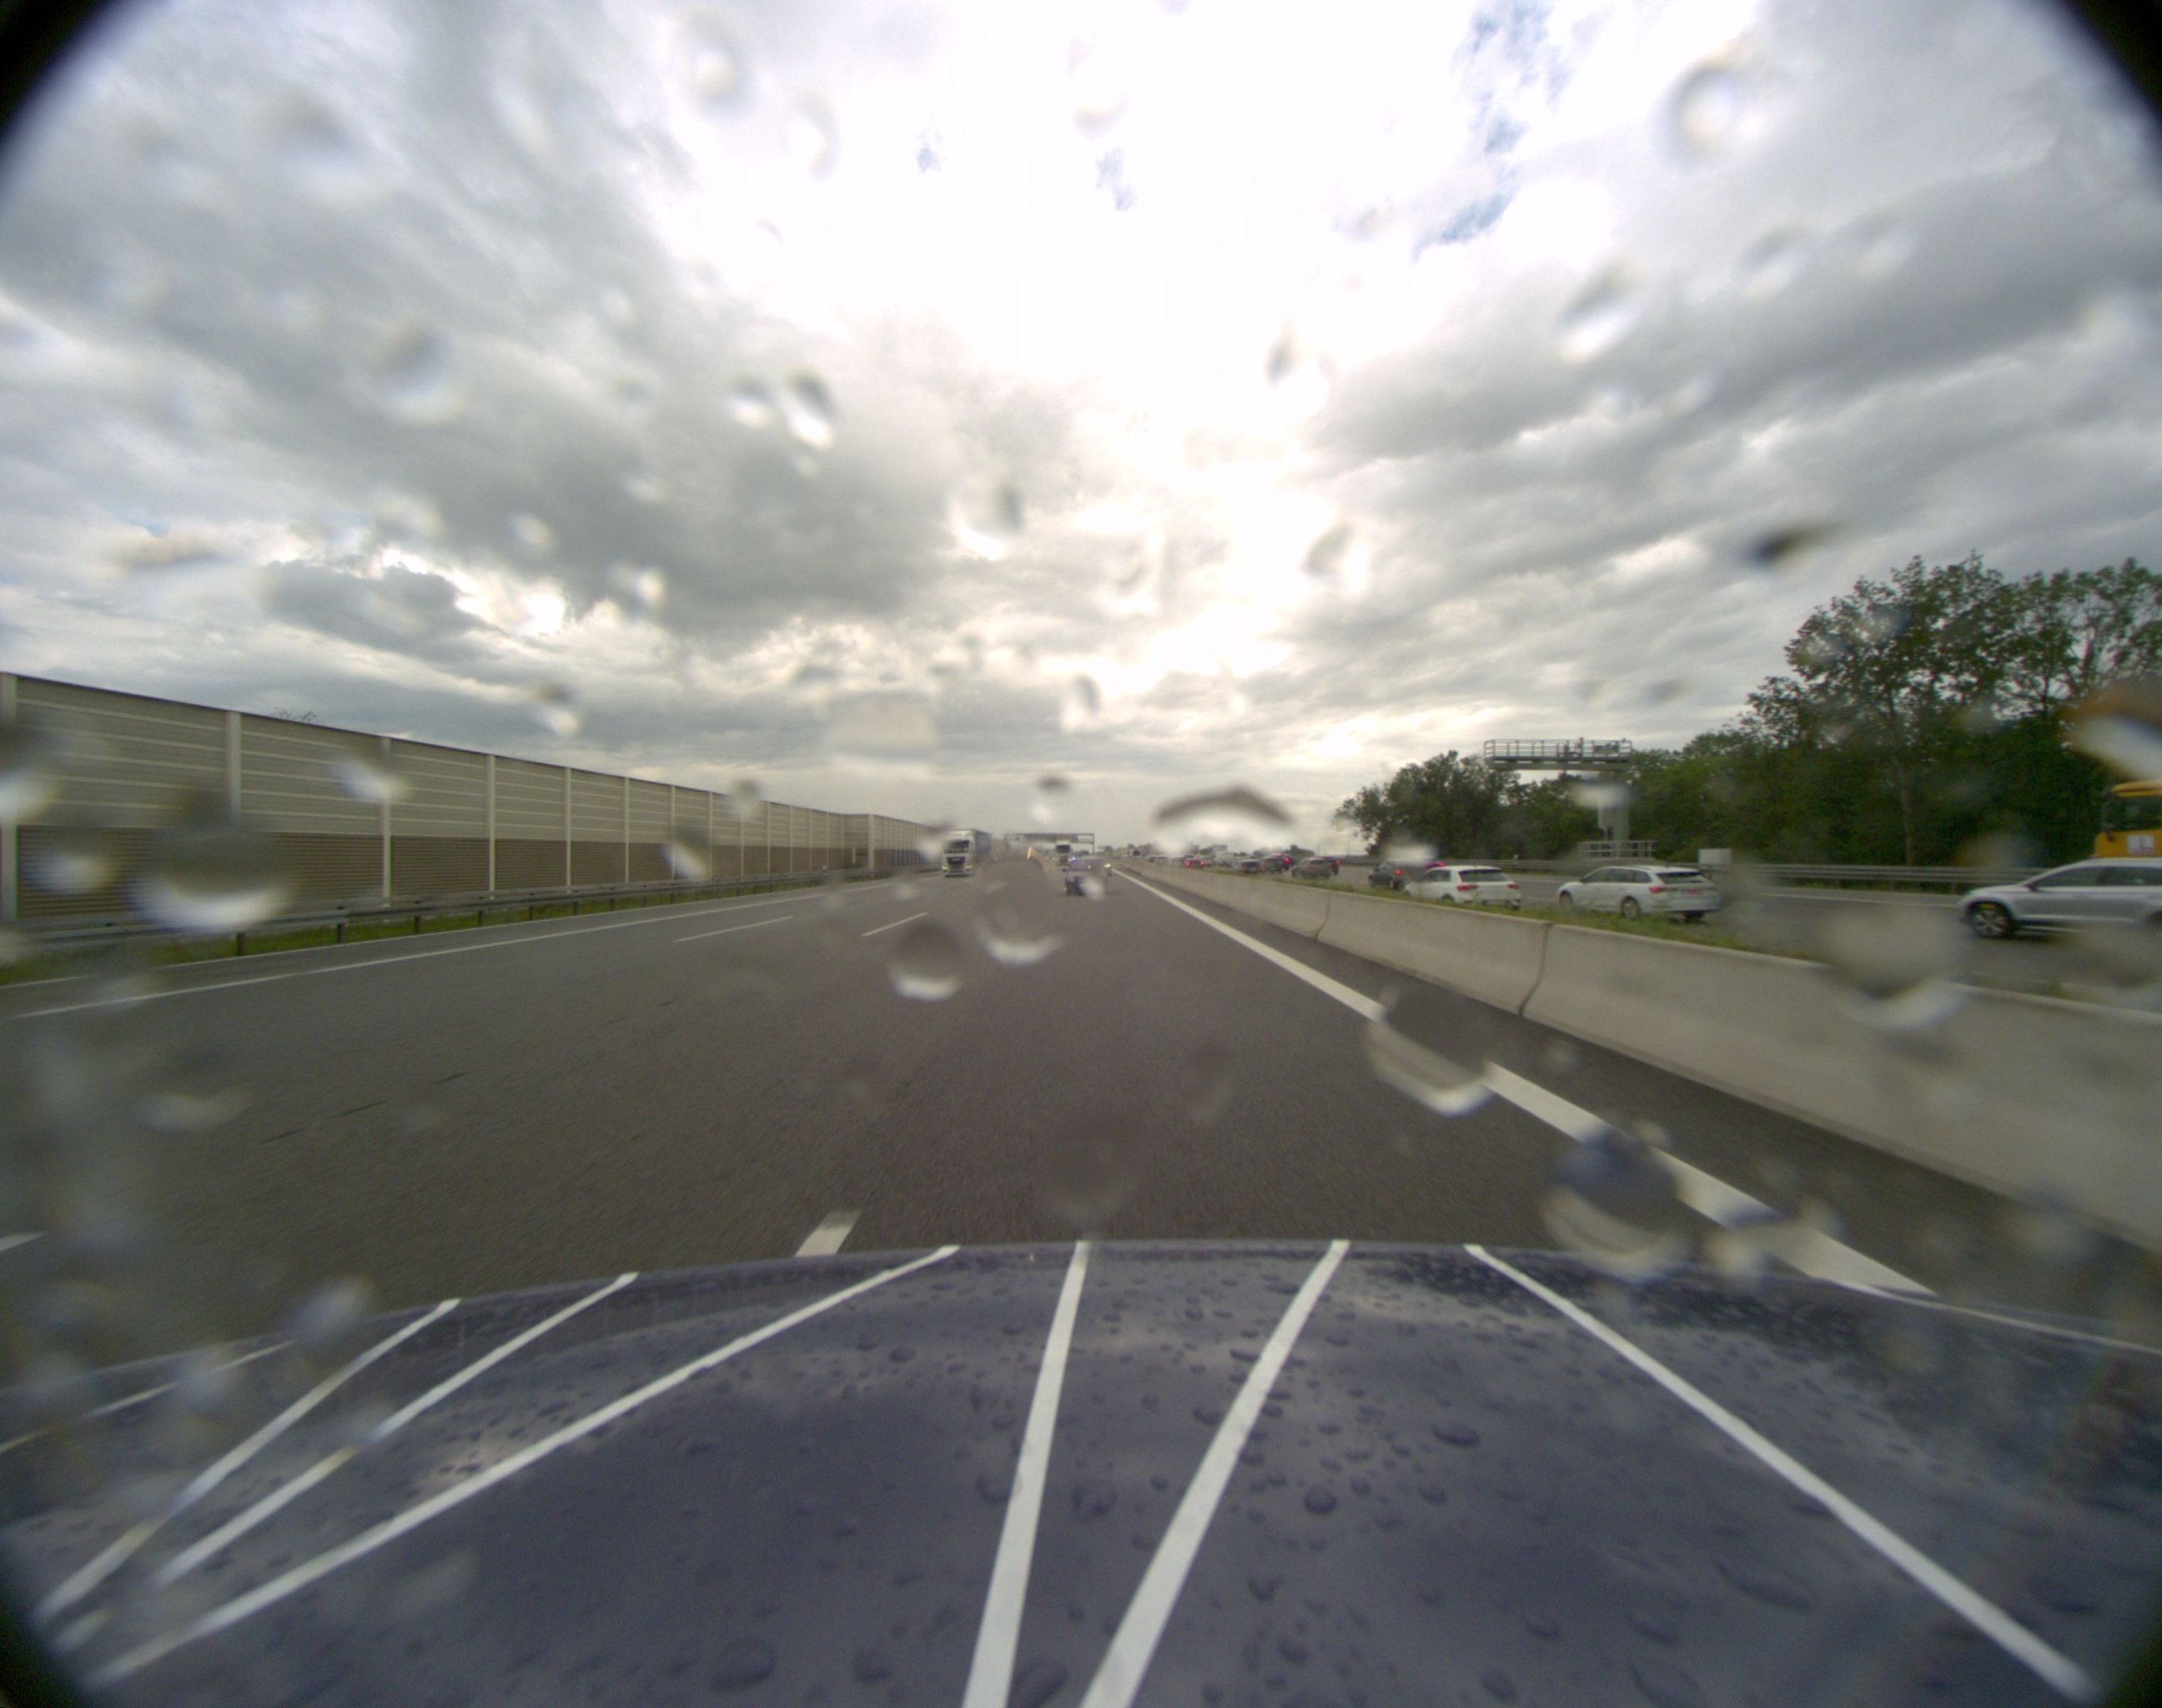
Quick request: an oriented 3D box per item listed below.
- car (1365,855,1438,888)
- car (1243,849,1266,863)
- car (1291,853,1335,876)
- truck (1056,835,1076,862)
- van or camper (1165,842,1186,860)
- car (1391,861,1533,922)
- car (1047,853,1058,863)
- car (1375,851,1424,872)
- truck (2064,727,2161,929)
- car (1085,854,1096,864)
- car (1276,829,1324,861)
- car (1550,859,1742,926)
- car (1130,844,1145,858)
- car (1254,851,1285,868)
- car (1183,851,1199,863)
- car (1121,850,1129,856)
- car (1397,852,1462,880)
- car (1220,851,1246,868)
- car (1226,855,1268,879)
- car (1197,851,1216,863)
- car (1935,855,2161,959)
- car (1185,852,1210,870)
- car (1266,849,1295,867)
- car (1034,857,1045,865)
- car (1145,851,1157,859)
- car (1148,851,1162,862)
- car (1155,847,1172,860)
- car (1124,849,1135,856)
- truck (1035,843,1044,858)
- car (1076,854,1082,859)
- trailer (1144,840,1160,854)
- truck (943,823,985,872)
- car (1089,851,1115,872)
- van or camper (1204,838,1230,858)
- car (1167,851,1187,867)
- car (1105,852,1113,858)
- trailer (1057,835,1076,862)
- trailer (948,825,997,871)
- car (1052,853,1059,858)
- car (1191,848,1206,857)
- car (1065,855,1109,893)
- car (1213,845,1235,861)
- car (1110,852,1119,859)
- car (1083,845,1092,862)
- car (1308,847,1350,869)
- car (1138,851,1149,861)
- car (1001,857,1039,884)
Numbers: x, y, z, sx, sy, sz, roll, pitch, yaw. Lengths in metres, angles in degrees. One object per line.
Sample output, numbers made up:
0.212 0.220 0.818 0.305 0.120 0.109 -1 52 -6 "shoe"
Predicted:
15.683 0.801 37.478 1.727 1.420 4.519 -3 1 1 "car"
19.874 0.206 87.209 1.727 1.470 3.960 -3 1 1 "car"
16.081 0.667 52.828 1.727 1.420 4.519 -3 1 1 "car"
-2.331 -0.884 122.437 2.913 4.146 5.192 -3 0 0 "truck"
16.339 -0.573 131.629 2.632 2.934 7.357 -3 1 0 "van or camper"
10.807 0.992 21.984 1.727 1.420 4.648 -3 1 0 "car"
-6.344 0.932 169.794 1.998 2.002 4.000 -2 0 1 "car"
23.231 0.509 55.619 1.727 1.420 4.519 -3 1 1 "car"
22.808 -0.521 11.737 2.922 3.991 9.582 -1 0 1 "truck"
1.455 0.782 118.190 1.498 1.394 4.000 -2 0 0 "car"
23.568 -0.962 82.150 2.735 3.221 7.937 -3 1 0 "car"
15.322 0.963 21.015 1.727 1.461 4.848 -3 1 1 "car"
11.749 -0.583 158.534 2.236 2.733 9.165 -1 -1 0 "car"
16.488 0.462 66.653 1.727 1.410 4.201 0 1 1 "car"
16.167 0.423 112.254 1.727 1.636 4.519 -3 1 1 "car"
13.611 -0.293 233.628 2.065 1.526 5.469 -1 0 -1 "car"
20.027 0.640 43.886 1.727 1.420 4.519 -3 1 1 "car"
15.737 0.526 78.873 1.727 1.636 4.519 -3 1 1 "car"
11.129 0.858 51.339 1.727 1.420 5.230 -3 1 1 "car"
16.256 0.371 98.287 1.727 1.407 4.519 -3 1 1 "car"
18.765 0.887 13.669 1.727 1.593 4.519 -3 1 1 "car"
11.498 0.700 75.442 1.727 1.636 4.992 -3 1 1 "car"
19.708 0.332 75.174 1.727 1.636 4.519 -3 1 1 "car"
-6.772 1.138 125.065 1.698 1.394 4.000 -2 0 -1 "car"
15.346 0.221 166.262 2.065 1.526 4.518 -1 0 -1 "car"
11.445 0.346 117.570 1.727 1.636 5.061 -3 1 1 "car"
11.526 -0.060 106.357 1.727 1.636 5.061 -3 1 1 "car"
11.280 -0.266 177.775 2.065 1.526 5.469 -1 0 -1 "car"
-12.279 -0.956 223.564 2.600 4.087 11.368 -2 0 -4 "truck"
-0.612 0.708 209.783 1.698 1.394 4.000 -2 0 -1 "car"
21.159 -2.050 226.233 2.939 4.008 14.451 -2 0 -1 "trailer"
-10.126 -0.534 66.400 2.752 4.011 5.725 -2 0 -1 "truck"
1.472 0.546 55.081 1.776 1.451 4.480 -2 0 1 "car"
22.927 -0.994 128.182 2.632 3.104 8.475 -3 1 0 "van or camper"
11.081 0.553 87.724 1.727 1.636 4.997 -3 1 1 "car"
8.958 0.184 244.949 2.065 1.869 6.327 -1 0 -1 "car"
-2.463 -0.835 128.798 2.926 4.187 13.195 -2 0 -1 "trailer"
-10.260 -0.482 73.492 2.768 4.008 14.451 -2 0 -1 "trailer"
-7.066 0.424 209.702 1.698 1.394 4.000 -2 0 -1 "car"
19.094 -0.279 123.551 1.727 1.447 5.018 -3 1 1 "car"
0.265 0.750 30.333 1.578 1.394 4.000 -2 0 1 "car"
19.187 -0.141 102.165 1.692 1.925 5.547 -3 1 -1 "car"
8.886 0.408 202.380 2.065 1.636 5.379 -1 0 -1 "car"
1.239 -0.043 144.617 1.645 3.041 4.589 -2 0 0 "car"
19.879 0.301 61.112 1.727 1.636 5.235 -3 1 1 "car"
11.526 0.299 139.860 1.727 1.636 4.519 -3 1 1 "car"
-3.306 0.877 41.824 1.732 1.394 4.000 -2 0 0 "car"
